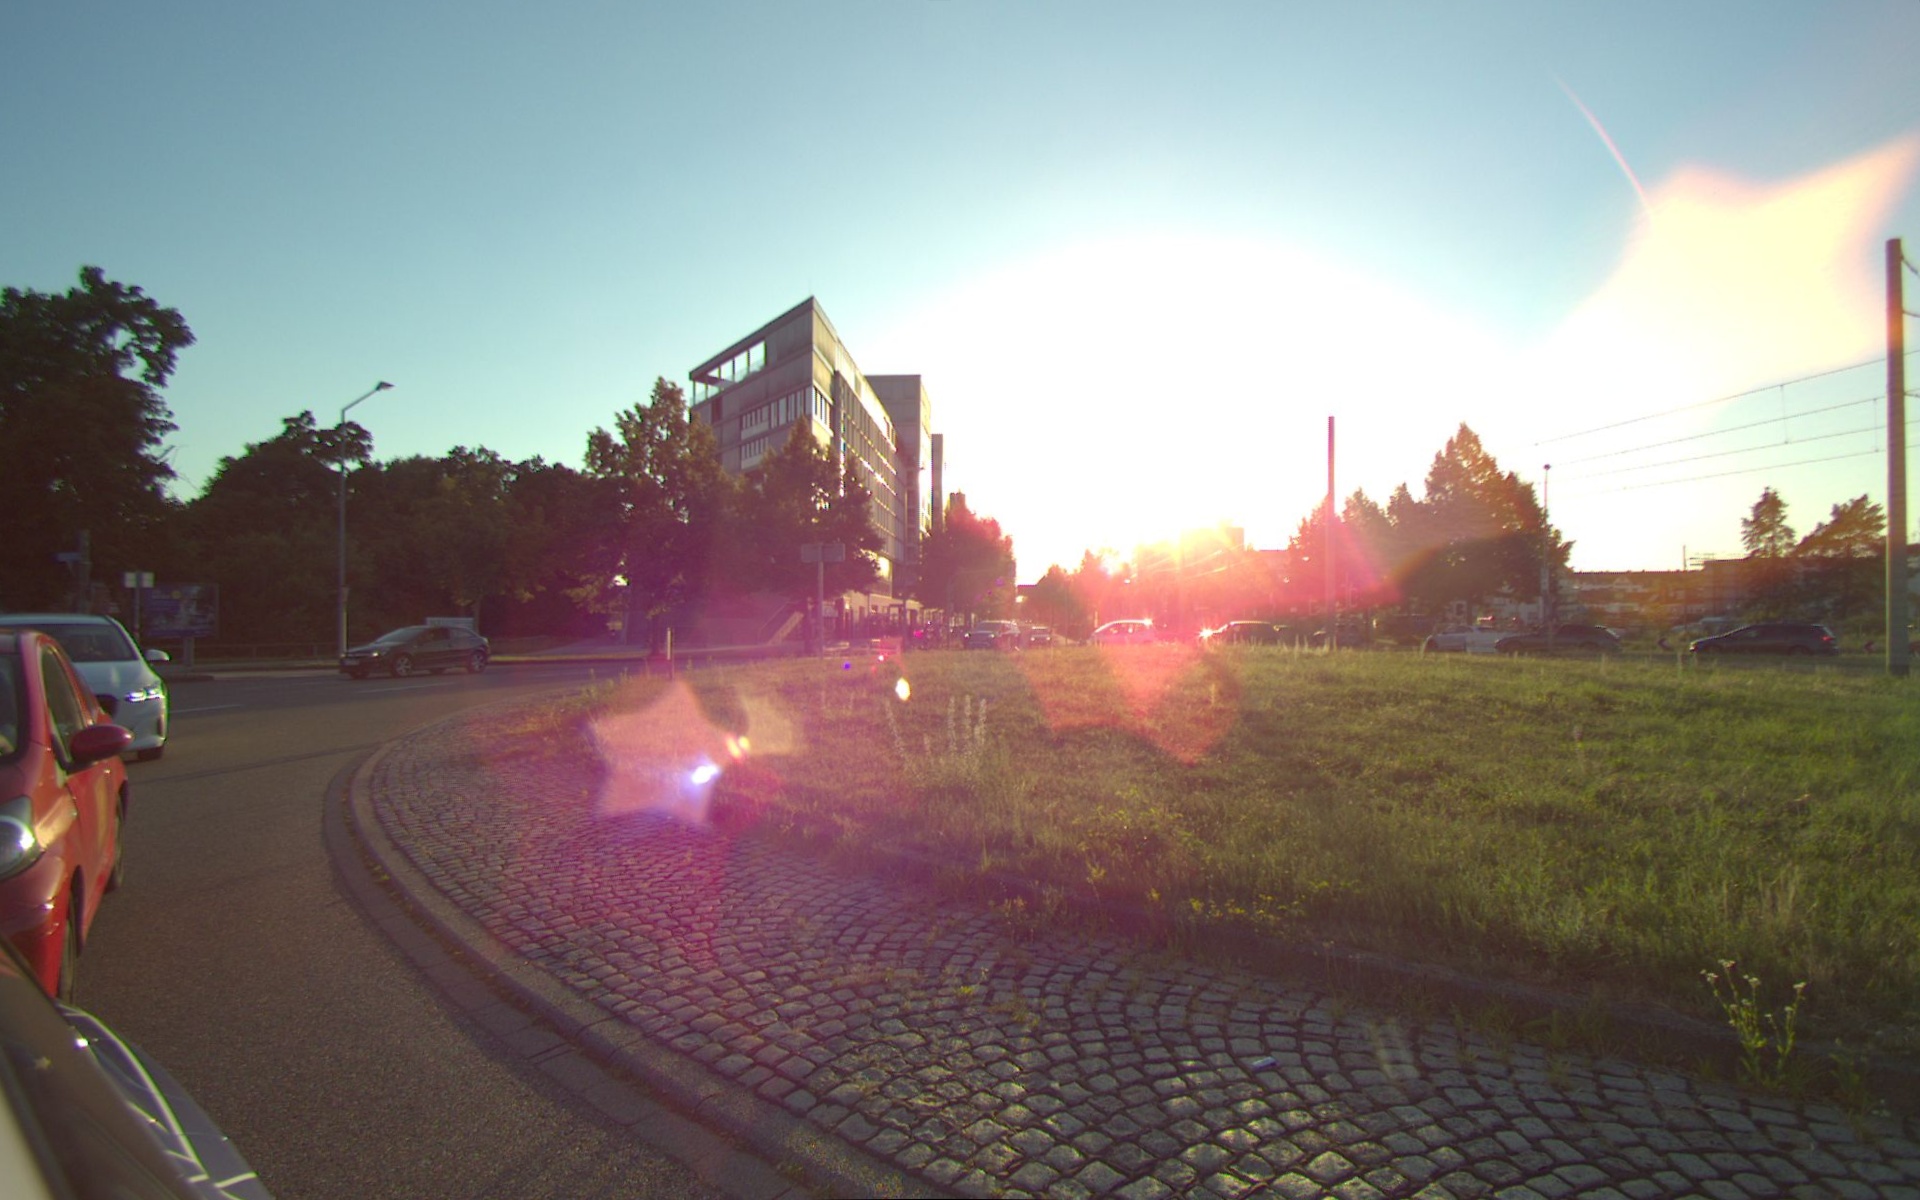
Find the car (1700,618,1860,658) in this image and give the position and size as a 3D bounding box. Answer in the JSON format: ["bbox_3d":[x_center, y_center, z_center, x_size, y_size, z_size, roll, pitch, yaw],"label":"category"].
[{"bbox_3d":[30.636,1.387,37.911,1.969,1.386,4.389,1,-2,-42],"label":"car"}]

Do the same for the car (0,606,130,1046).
[{"bbox_3d":[-4.854,0.767,4.488,1.662,1.431,4.008,1,-2,-37],"label":"car"}]

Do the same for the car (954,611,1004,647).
[{"bbox_3d":[1.064,1.594,54.702,1.977,1.827,5.290,-2,-2,9],"label":"car"}]

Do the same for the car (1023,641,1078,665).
[{"bbox_3d":[6.660,3.856,74.216,1.832,1.571,4.507,-1,-2,40],"label":"car"}]

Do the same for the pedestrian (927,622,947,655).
[{"bbox_3d":[-1.459,2.459,64.596,0.995,2.029,0.768,-1,0,29],"label":"pedestrian"}]

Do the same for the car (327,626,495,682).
[{"bbox_3d":[-15.181,1.446,28.234,1.736,1.389,4.102,-1,-1,17],"label":"car"}]

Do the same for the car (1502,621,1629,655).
[{"bbox_3d":[25.734,1.598,43.096,4.351,1.386,1.972,-1,-2,42],"label":"car"}]

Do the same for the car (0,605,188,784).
[{"bbox_3d":[-9.975,0.899,10.898,4.198,1.618,1.972,-1,-2,43],"label":"car"}]

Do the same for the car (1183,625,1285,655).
[{"bbox_3d":[12.963,1.897,48.071,4.326,1.386,1.998,0,-1,3],"label":"car"}]

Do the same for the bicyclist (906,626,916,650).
[{"bbox_3d":[-3.065,2.358,62.981,0.602,1.451,0.692,0,-1,-2],"label":"bicyclist"}]

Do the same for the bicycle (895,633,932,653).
[{"bbox_3d":[-2.885,2.682,62.959,2.315,1.254,0.742,0,-1,0],"label":"bicycle"}]

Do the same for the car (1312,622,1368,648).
[{"bbox_3d":[25.486,2.303,68.052,1.970,1.685,4.003,0,-1,-4],"label":"car"}]

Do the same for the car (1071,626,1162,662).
[{"bbox_3d":[7.347,2.044,47.705,3.831,1.592,1.958,0,-1,-7],"label":"car"}]

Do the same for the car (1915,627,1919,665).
[{"bbox_3d":[39.826,1.830,39.478,1.615,1.511,3.499,1,-1,-35],"label":"car"}]

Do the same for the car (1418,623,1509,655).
[{"bbox_3d":[29.023,2.225,58.527,1.966,1.719,4.730,0,-1,-18],"label":"car"}]
